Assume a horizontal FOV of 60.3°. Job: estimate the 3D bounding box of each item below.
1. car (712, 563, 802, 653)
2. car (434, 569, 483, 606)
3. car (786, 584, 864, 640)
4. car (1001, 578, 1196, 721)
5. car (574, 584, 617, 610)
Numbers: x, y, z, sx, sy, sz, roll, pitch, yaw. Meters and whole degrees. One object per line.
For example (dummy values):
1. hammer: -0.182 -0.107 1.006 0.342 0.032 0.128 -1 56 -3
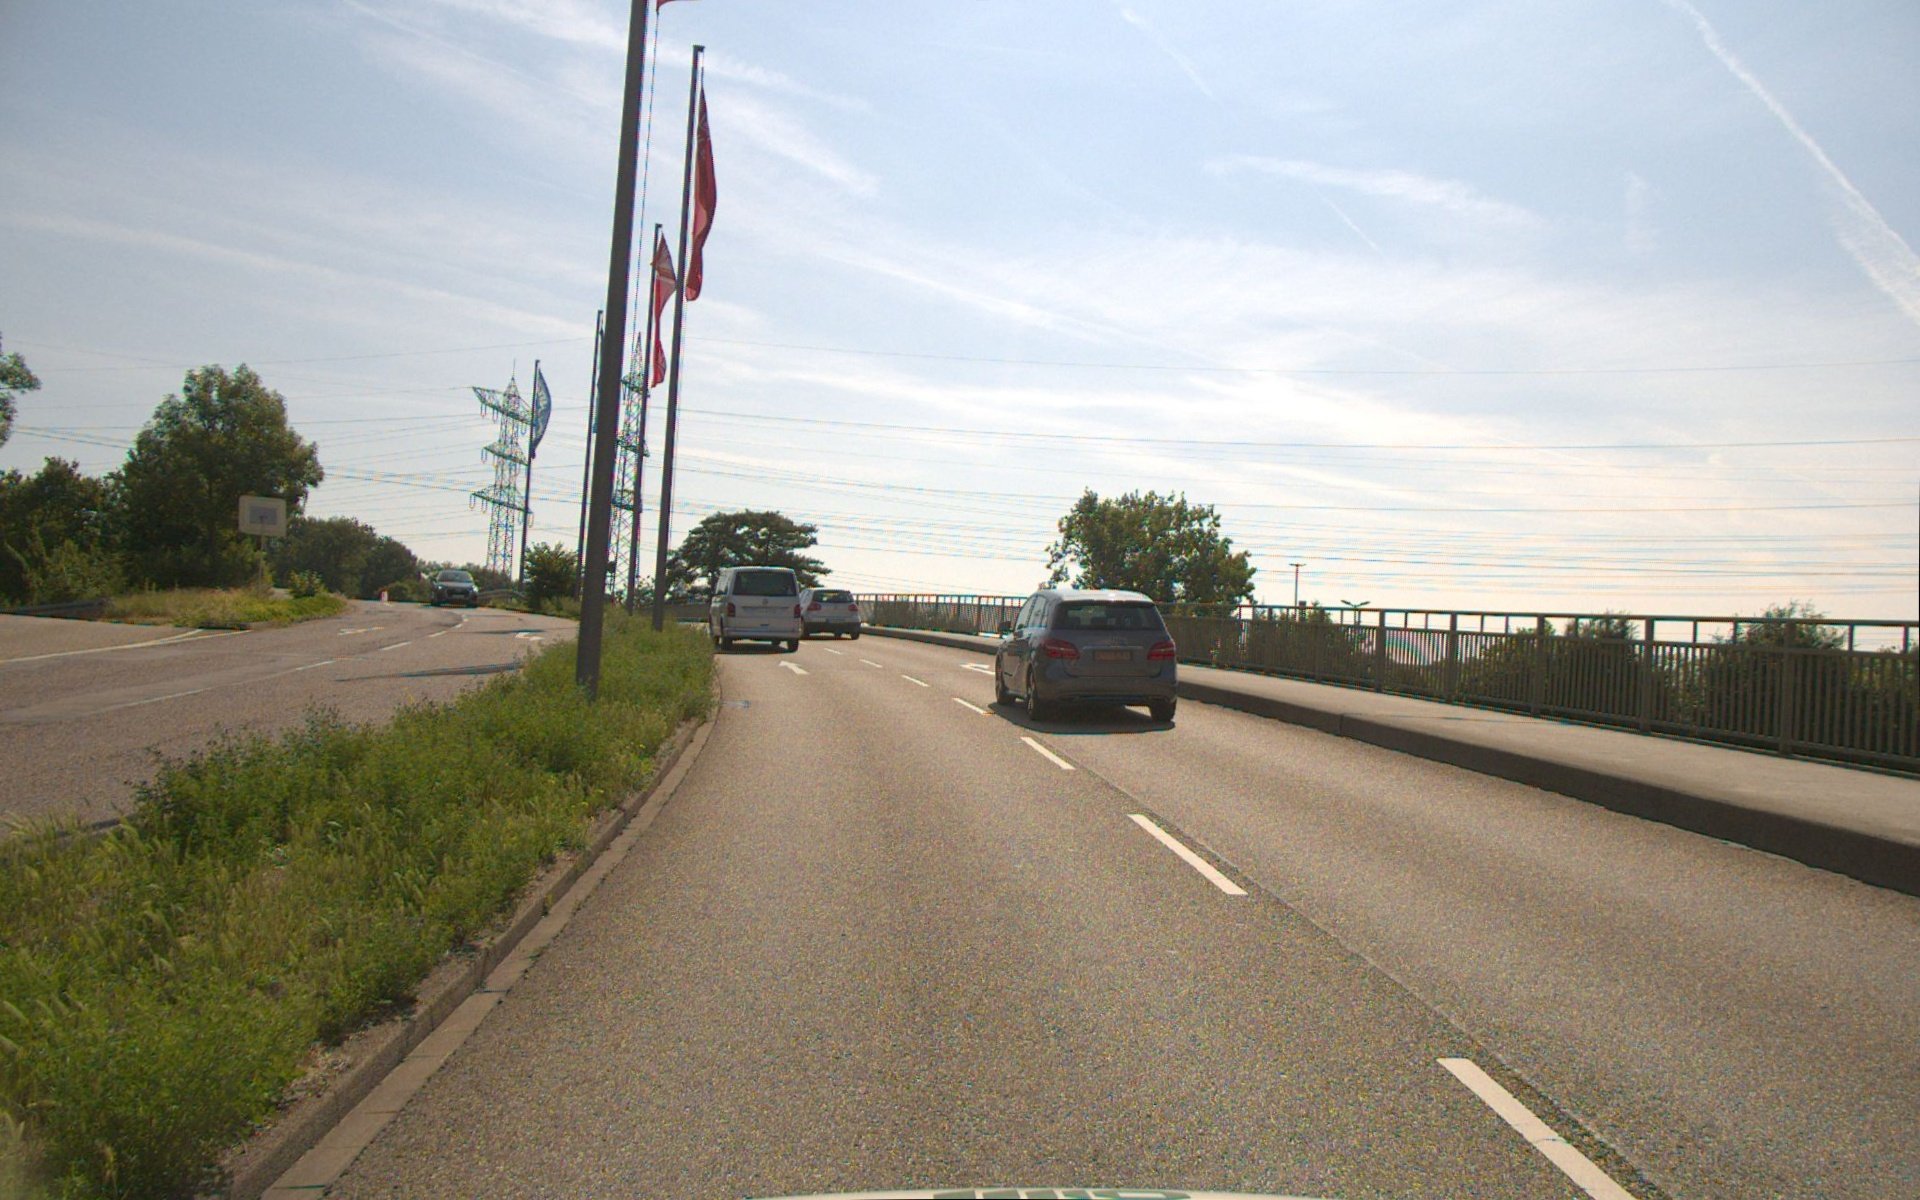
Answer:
1. car: -5.006 0.168 40.380 2.001 2.049 3.992 1 0 -9
2. car: -22.036 -0.554 72.580 1.758 1.510 4.234 1 1 -21
3. car: -4.079 0.340 49.500 1.823 1.556 4.133 2 0 -11
4. car: 1.639 0.619 20.983 1.820 1.556 4.140 3 -2 -4
5. car: -19.985 -0.173 90.539 1.748 1.355 3.717 1 0 -21
